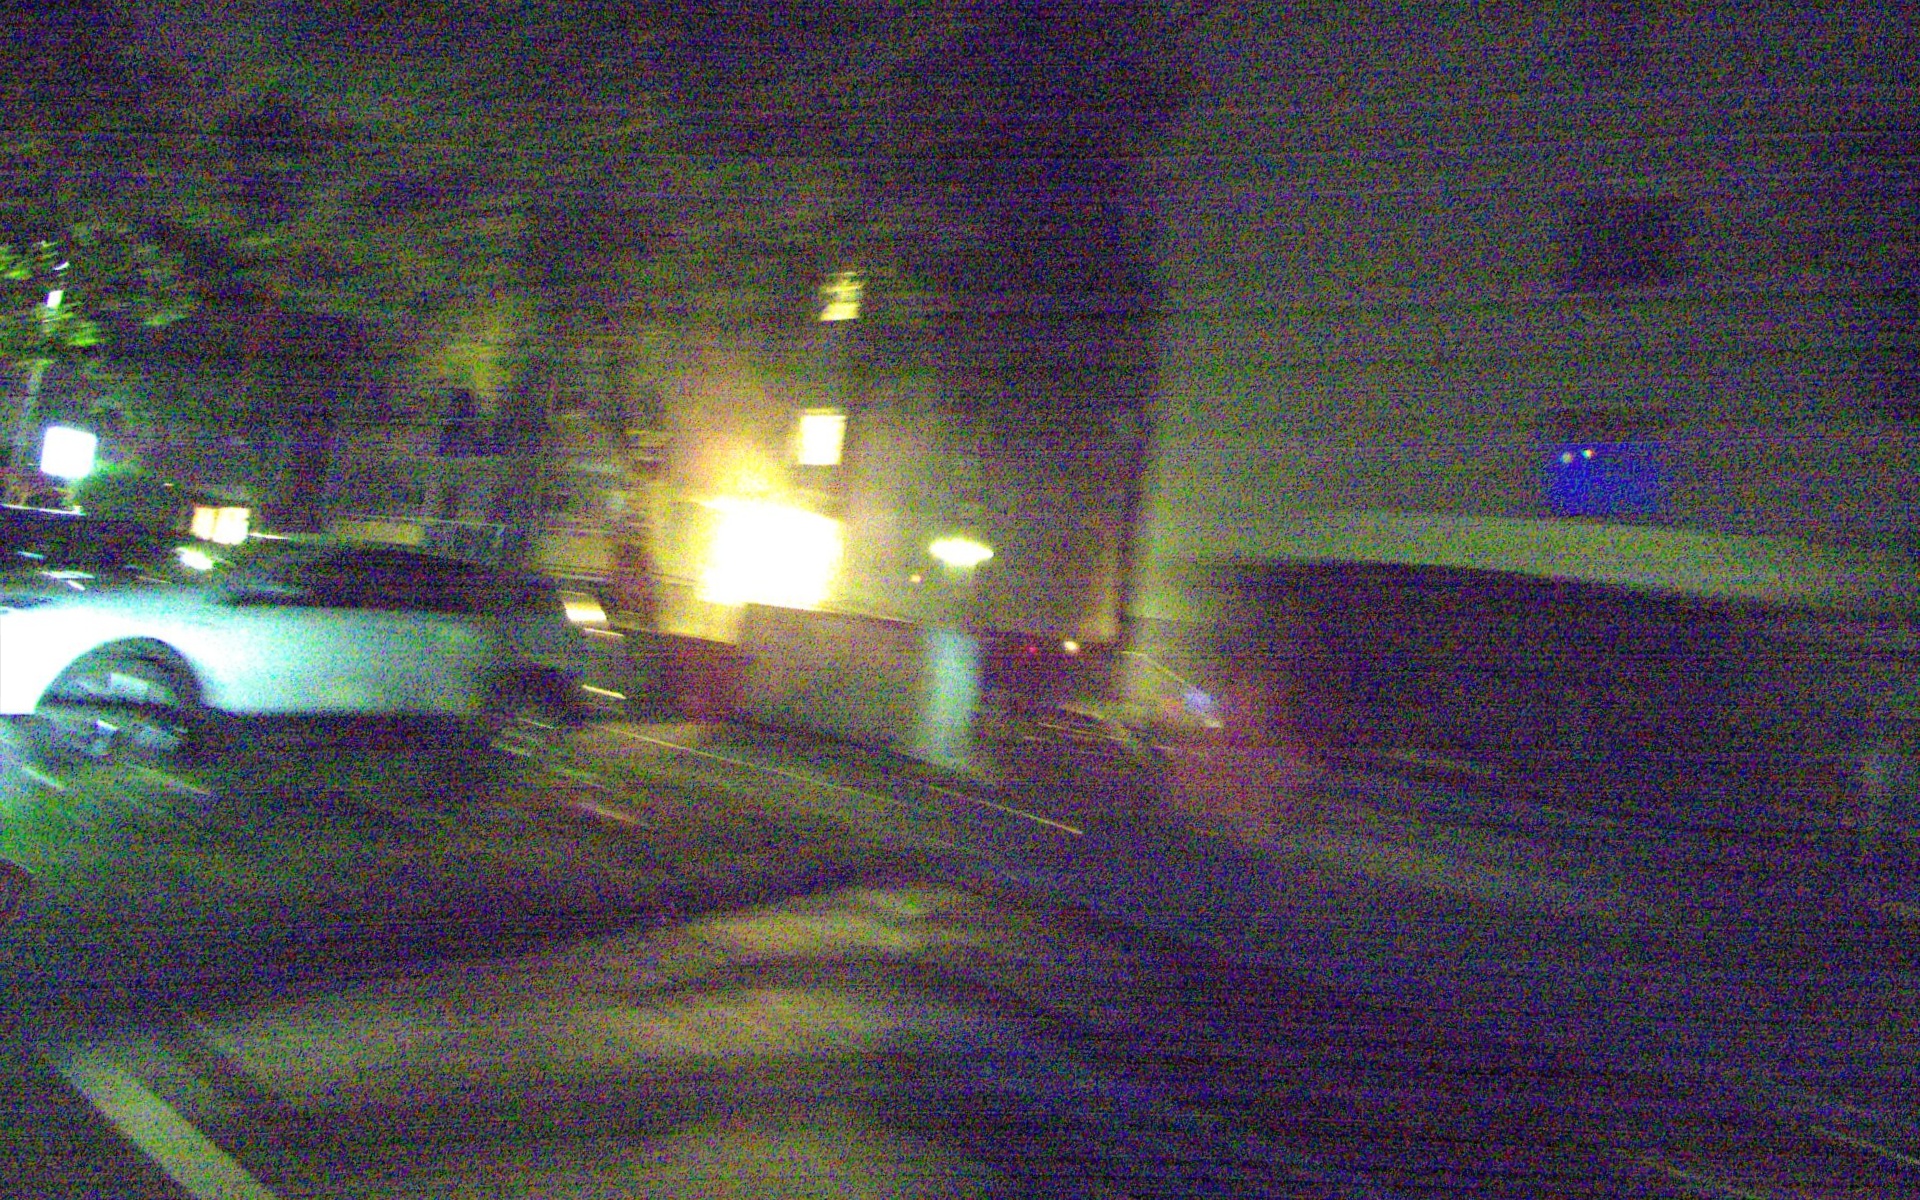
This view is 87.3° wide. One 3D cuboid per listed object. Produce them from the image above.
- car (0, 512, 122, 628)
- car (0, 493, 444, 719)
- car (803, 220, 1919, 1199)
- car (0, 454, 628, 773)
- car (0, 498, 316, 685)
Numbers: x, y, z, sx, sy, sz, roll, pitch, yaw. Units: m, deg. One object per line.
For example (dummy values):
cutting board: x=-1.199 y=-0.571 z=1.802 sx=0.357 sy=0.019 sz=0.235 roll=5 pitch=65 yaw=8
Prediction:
car: x=-14.069 y=-0.647 z=13.078 sx=1.903 sy=1.435 sz=4.408 roll=6 pitch=-3 yaw=33
car: x=-7.279 y=0.087 z=9.175 sx=1.967 sy=1.574 sz=3.997 roll=7 pitch=-4 yaw=32
car: x=2.011 y=0.809 z=3.741 sx=2.222 sy=2.120 sz=5.157 roll=7 pitch=-3 yaw=31
car: x=-4.975 y=0.238 z=7.447 sx=1.969 sy=1.716 sz=4.283 roll=6 pitch=-4 yaw=36
car: x=-9.581 y=-0.205 z=10.119 sx=2.072 sy=1.574 sz=4.667 roll=7 pitch=-4 yaw=32
